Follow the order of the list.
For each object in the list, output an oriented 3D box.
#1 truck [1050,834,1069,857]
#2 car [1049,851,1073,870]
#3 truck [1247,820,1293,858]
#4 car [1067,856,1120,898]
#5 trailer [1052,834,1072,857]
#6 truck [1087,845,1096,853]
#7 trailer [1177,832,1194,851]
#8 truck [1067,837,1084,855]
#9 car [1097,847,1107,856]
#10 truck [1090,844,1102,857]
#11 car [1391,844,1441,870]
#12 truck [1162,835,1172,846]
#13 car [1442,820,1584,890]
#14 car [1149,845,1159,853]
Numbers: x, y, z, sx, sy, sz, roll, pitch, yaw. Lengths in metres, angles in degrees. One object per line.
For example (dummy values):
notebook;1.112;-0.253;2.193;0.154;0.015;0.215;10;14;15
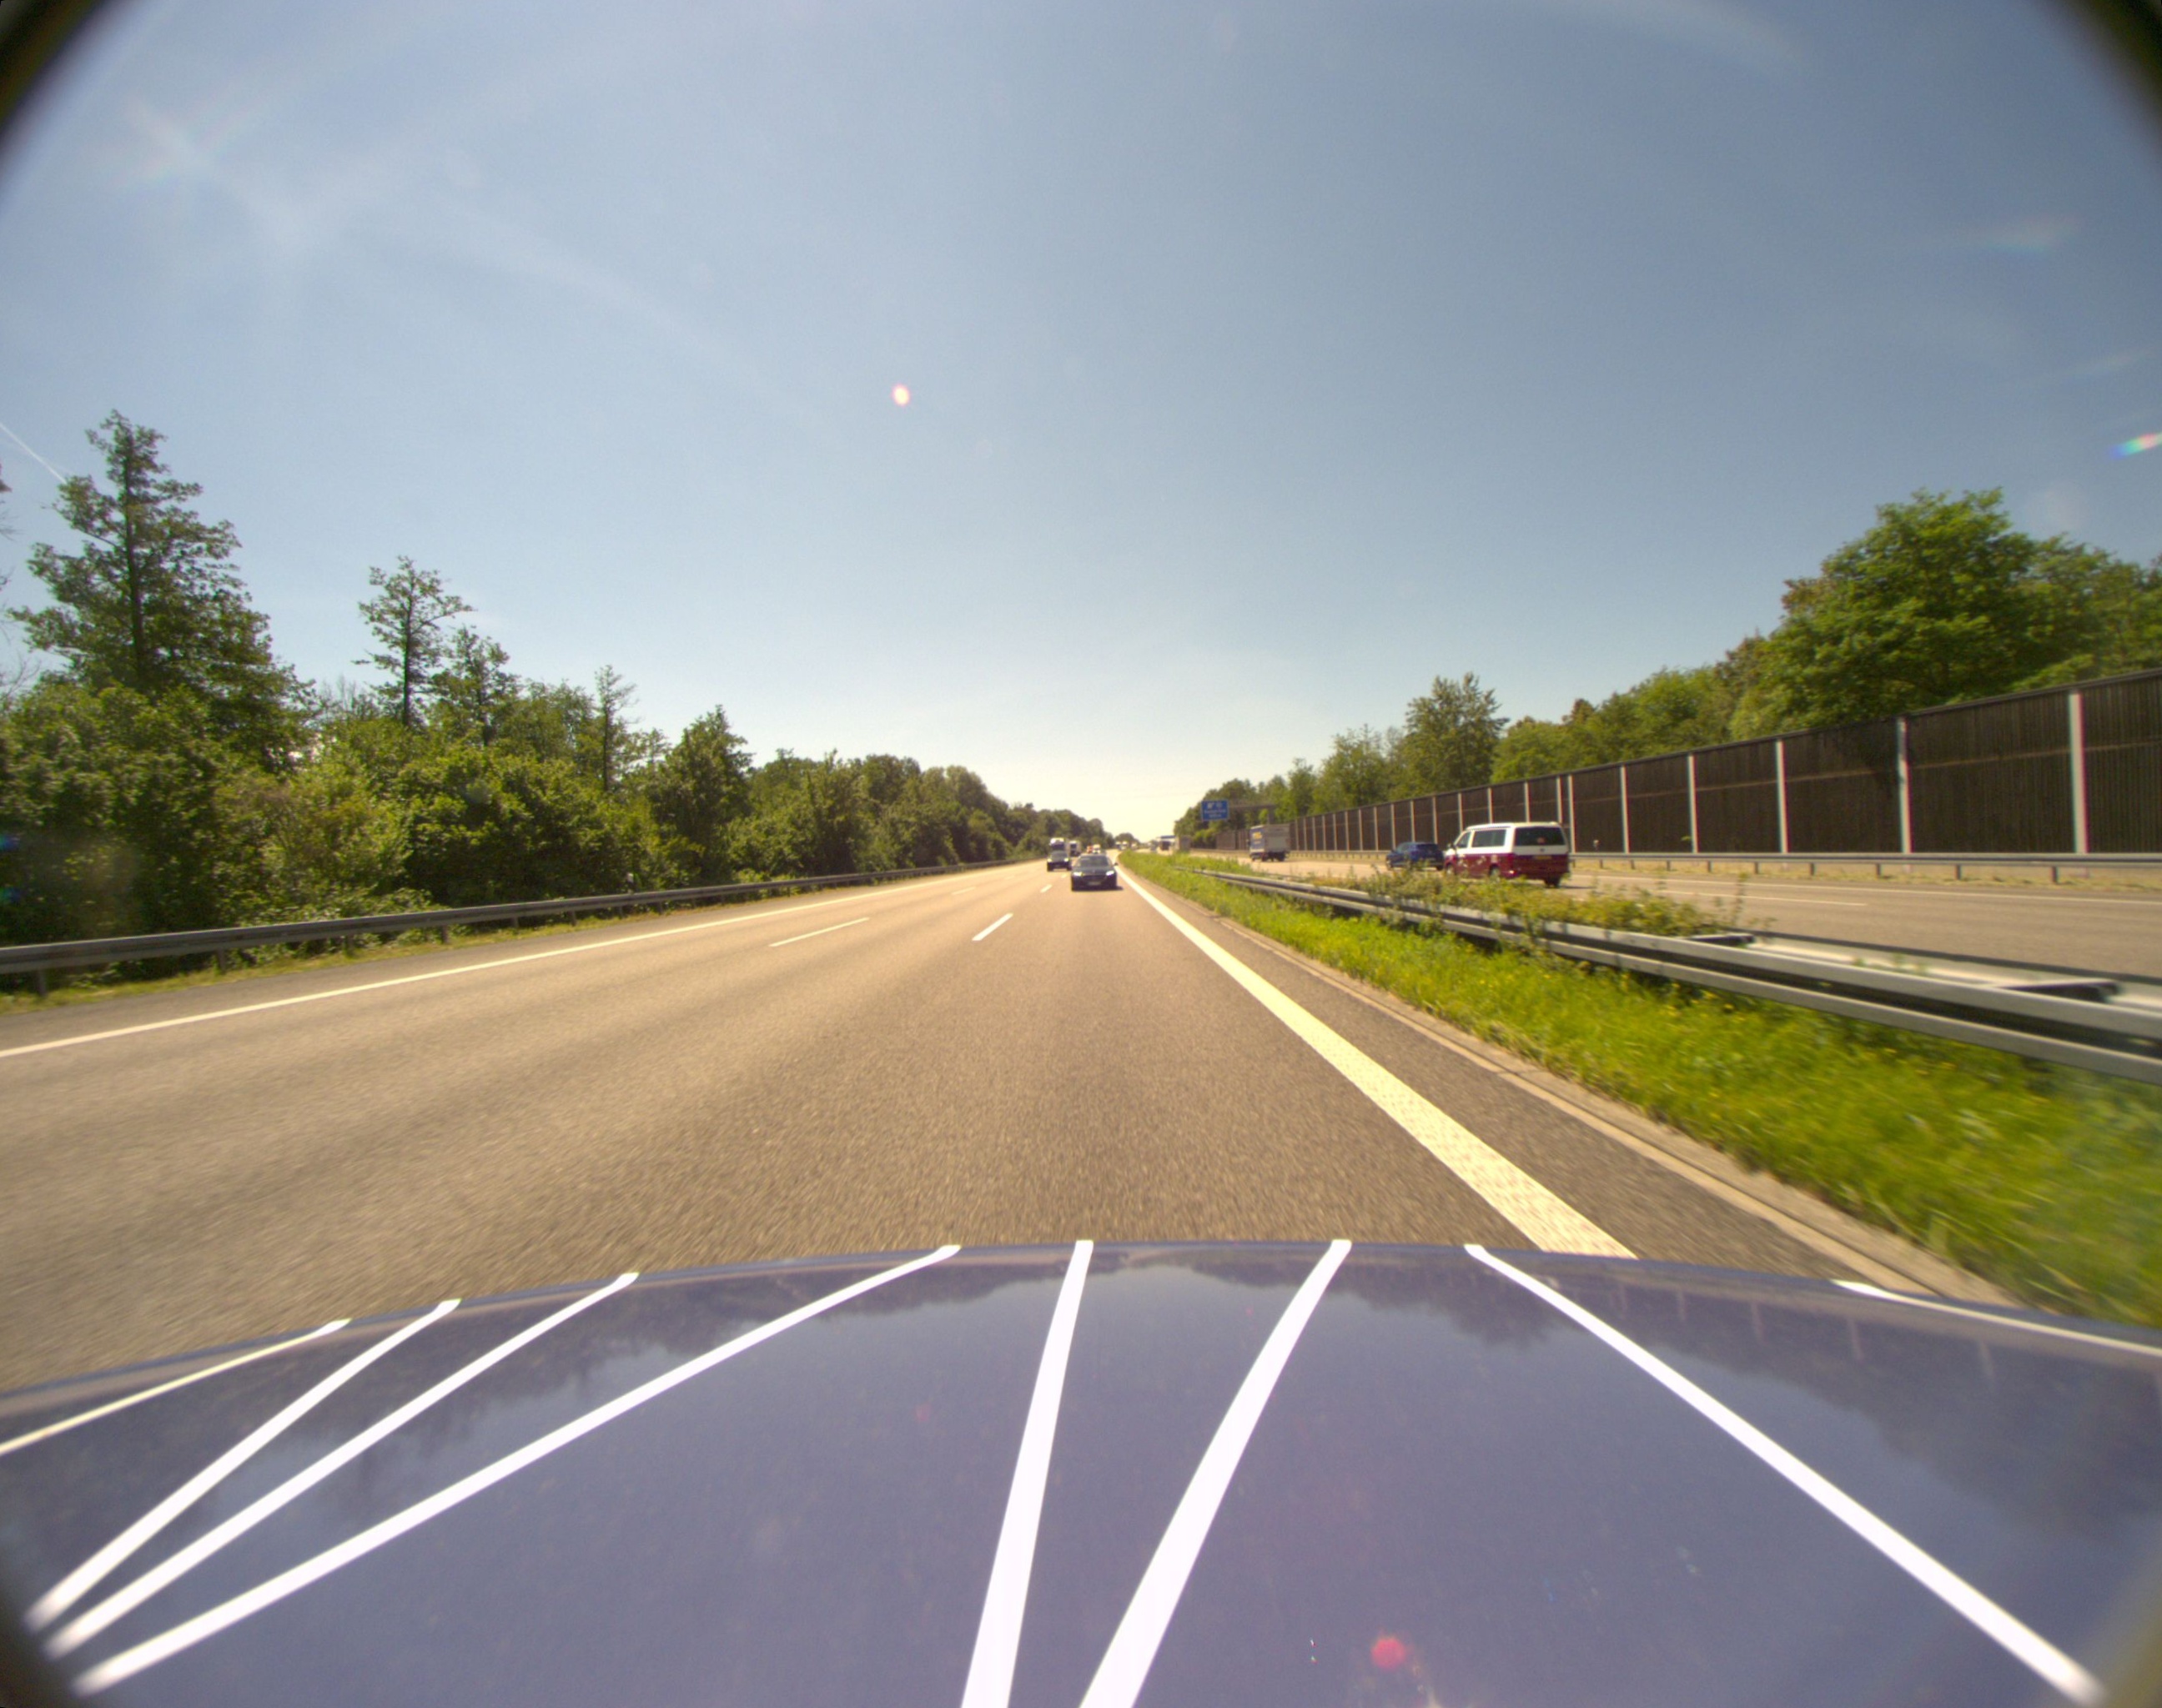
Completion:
truck;-3.716;-1.518;134.282;2.729;3.952;6.501;-2;1;2
car;-1.691;0.540;66.255;1.862;1.614;3.737;-2;0;1
truck;19.118;-1.478;77.261;2.839;3.588;8.745;-2;1;3
car;0.510;0.804;28.949;1.800;1.390;4.833;-2;0;1
trailer;-3.424;-1.625;141.618;2.746;3.952;13.654;-2;1;2
truck;3.374;-1.636;248.631;2.436;2.426;10.010;-2;1;2
trailer;24.198;-2.924;176.787;2.490;4.112;13.654;-2;1;3
truck;-1.262;-1.942;182.242;3.049;3.947;14.456;-2;0;4
car;4.482;-0.528;160.084;1.879;1.630;4.001;-2;1;4
truck;3.893;-0.868;201.042;2.859;3.163;10.710;-2;0;0
car;17.573;0.146;39.959;1.282;1.248;3.028;-2;1;1
truck;30.420;-4.777;269.591;2.877;3.584;9.952;-2;1;3
car;13.552;0.016;24.202;1.931;1.934;4.609;-2;1;1
car;14.421;-0.969;150.105;1.587;1.579;4.000;-2;1;3
